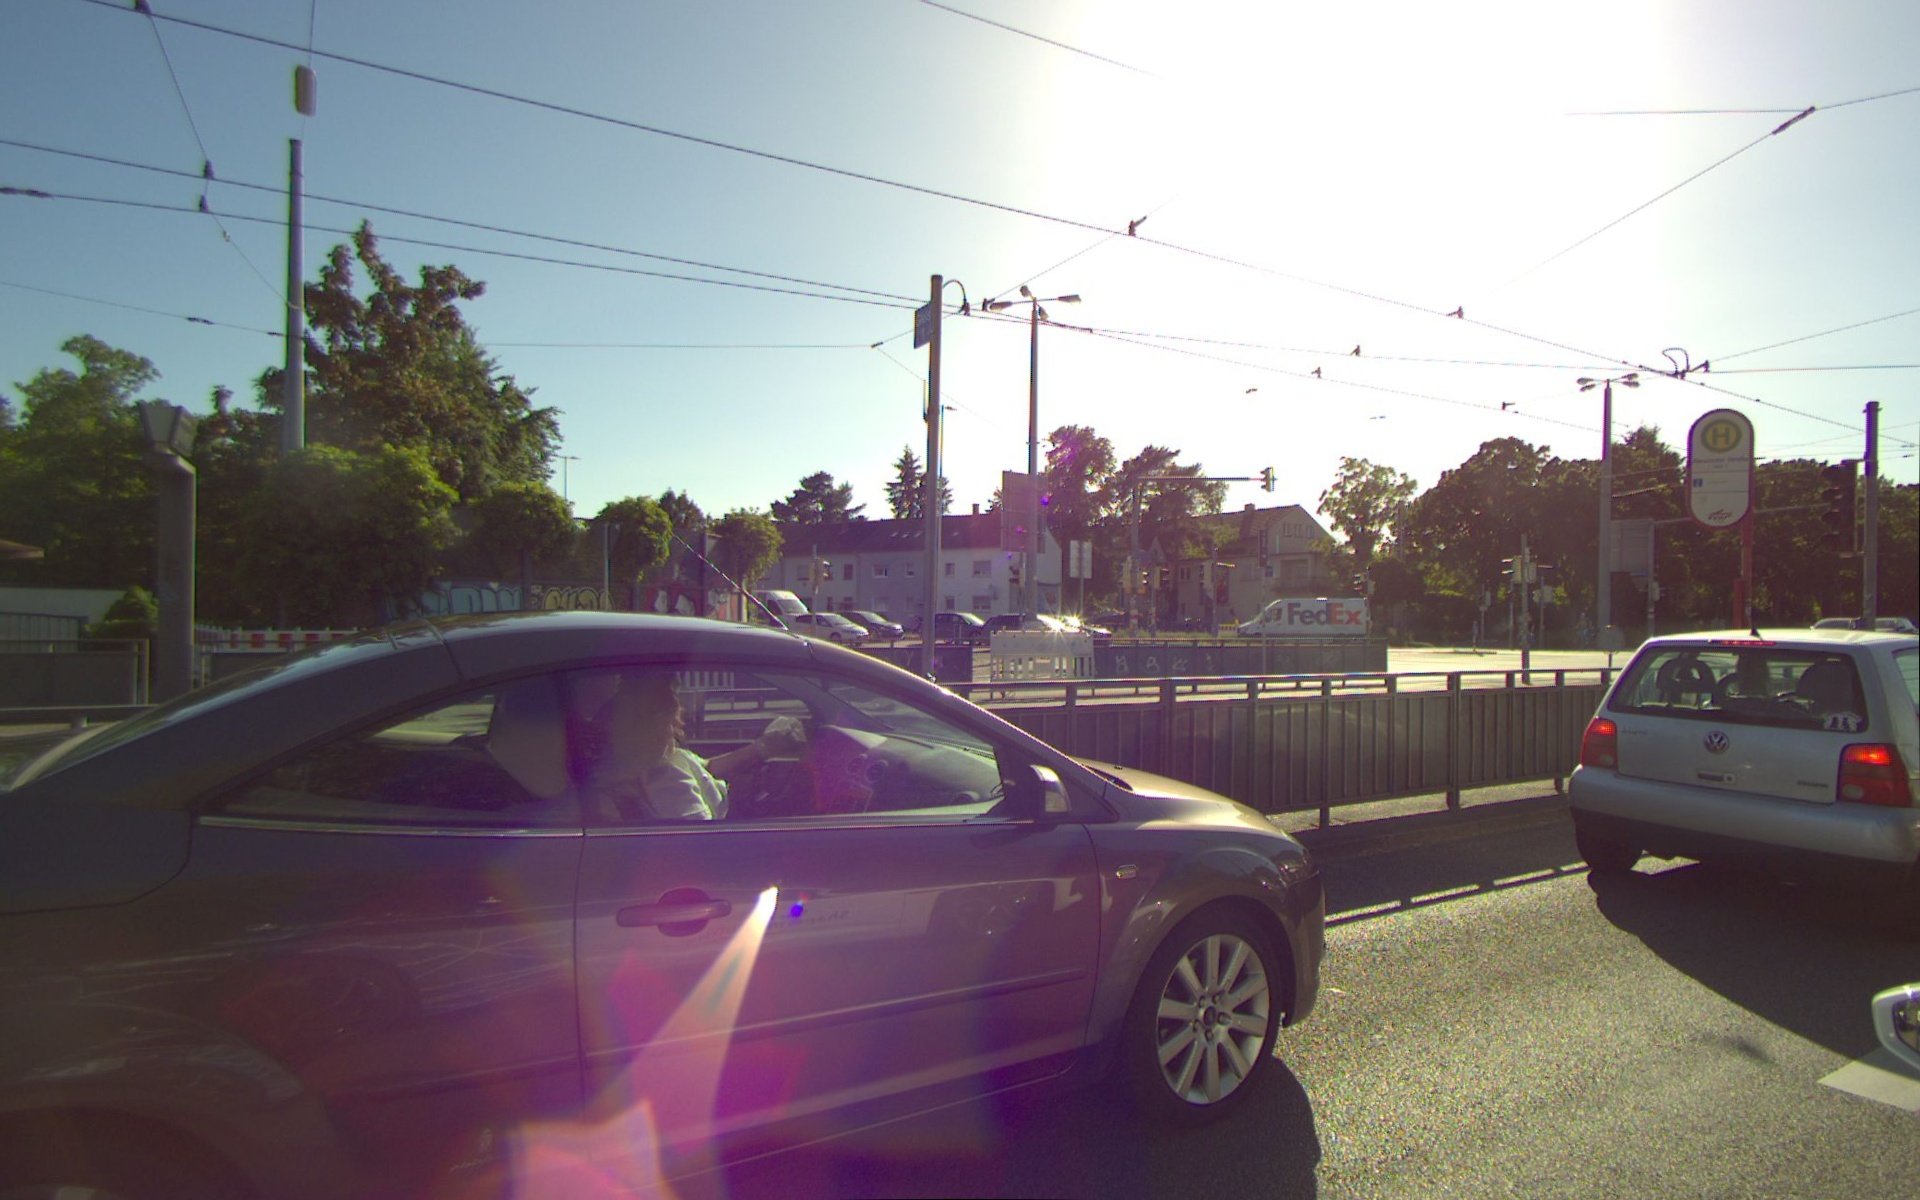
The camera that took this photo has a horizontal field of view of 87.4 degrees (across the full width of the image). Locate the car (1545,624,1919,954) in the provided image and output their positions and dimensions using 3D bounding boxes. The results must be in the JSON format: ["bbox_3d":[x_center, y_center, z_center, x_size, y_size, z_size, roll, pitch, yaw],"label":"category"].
[{"bbox_3d":[5.202,0.886,5.960,3.312,1.436,1.611,2,-2,-31],"label":"car"}]

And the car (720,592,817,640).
[{"bbox_3d":[-10.144,0.833,53.103,4.995,2.434,2.132,0,-1,34],"label":"car"}]

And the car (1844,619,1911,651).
[{"bbox_3d":[47.317,1.774,51.785,4.245,1.568,1.819,1,-1,-37],"label":"car"}]

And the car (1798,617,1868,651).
[{"bbox_3d":[42.433,1.650,48.797,3.963,1.568,1.819,1,-1,-37],"label":"car"}]

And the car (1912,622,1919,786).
[{"bbox_3d":[10.774,0.999,9.446,4.038,1.476,1.611,2,0,-31],"label":"car"}]

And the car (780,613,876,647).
[{"bbox_3d":[-5.954,1.330,45.241,4.104,1.451,1.846,0,-1,34],"label":"car"}]

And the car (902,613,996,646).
[{"bbox_3d":[-0.524,1.315,45.809,4.104,1.451,1.589,0,-1,34],"label":"car"}]

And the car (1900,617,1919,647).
[{"bbox_3d":[54.275,1.792,56.052,4.712,1.626,1.978,1,1,-38],"label":"car"}]

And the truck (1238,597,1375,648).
[{"bbox_3d":[18.518,1.205,53.943,6.684,2.599,2.001,0,-1,9],"label":"truck"}]

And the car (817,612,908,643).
[{"bbox_3d":[-4.764,1.326,48.893,4.212,1.451,1.788,0,-1,34],"label":"car"}]

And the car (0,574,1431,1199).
[{"bbox_3d":[-0.759,0.726,2.893,4.284,1.469,1.766,1,-1,-31],"label":"car"}]

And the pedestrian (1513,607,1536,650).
[{"bbox_3d":[26.847,1.351,47.766,0.785,2.040,0.741,1,-1,-42],"label":"pedestrian"}]

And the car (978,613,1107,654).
[{"bbox_3d":[3.175,1.280,39.208,4.754,1.517,1.781,0,-1,34],"label":"car"}]
